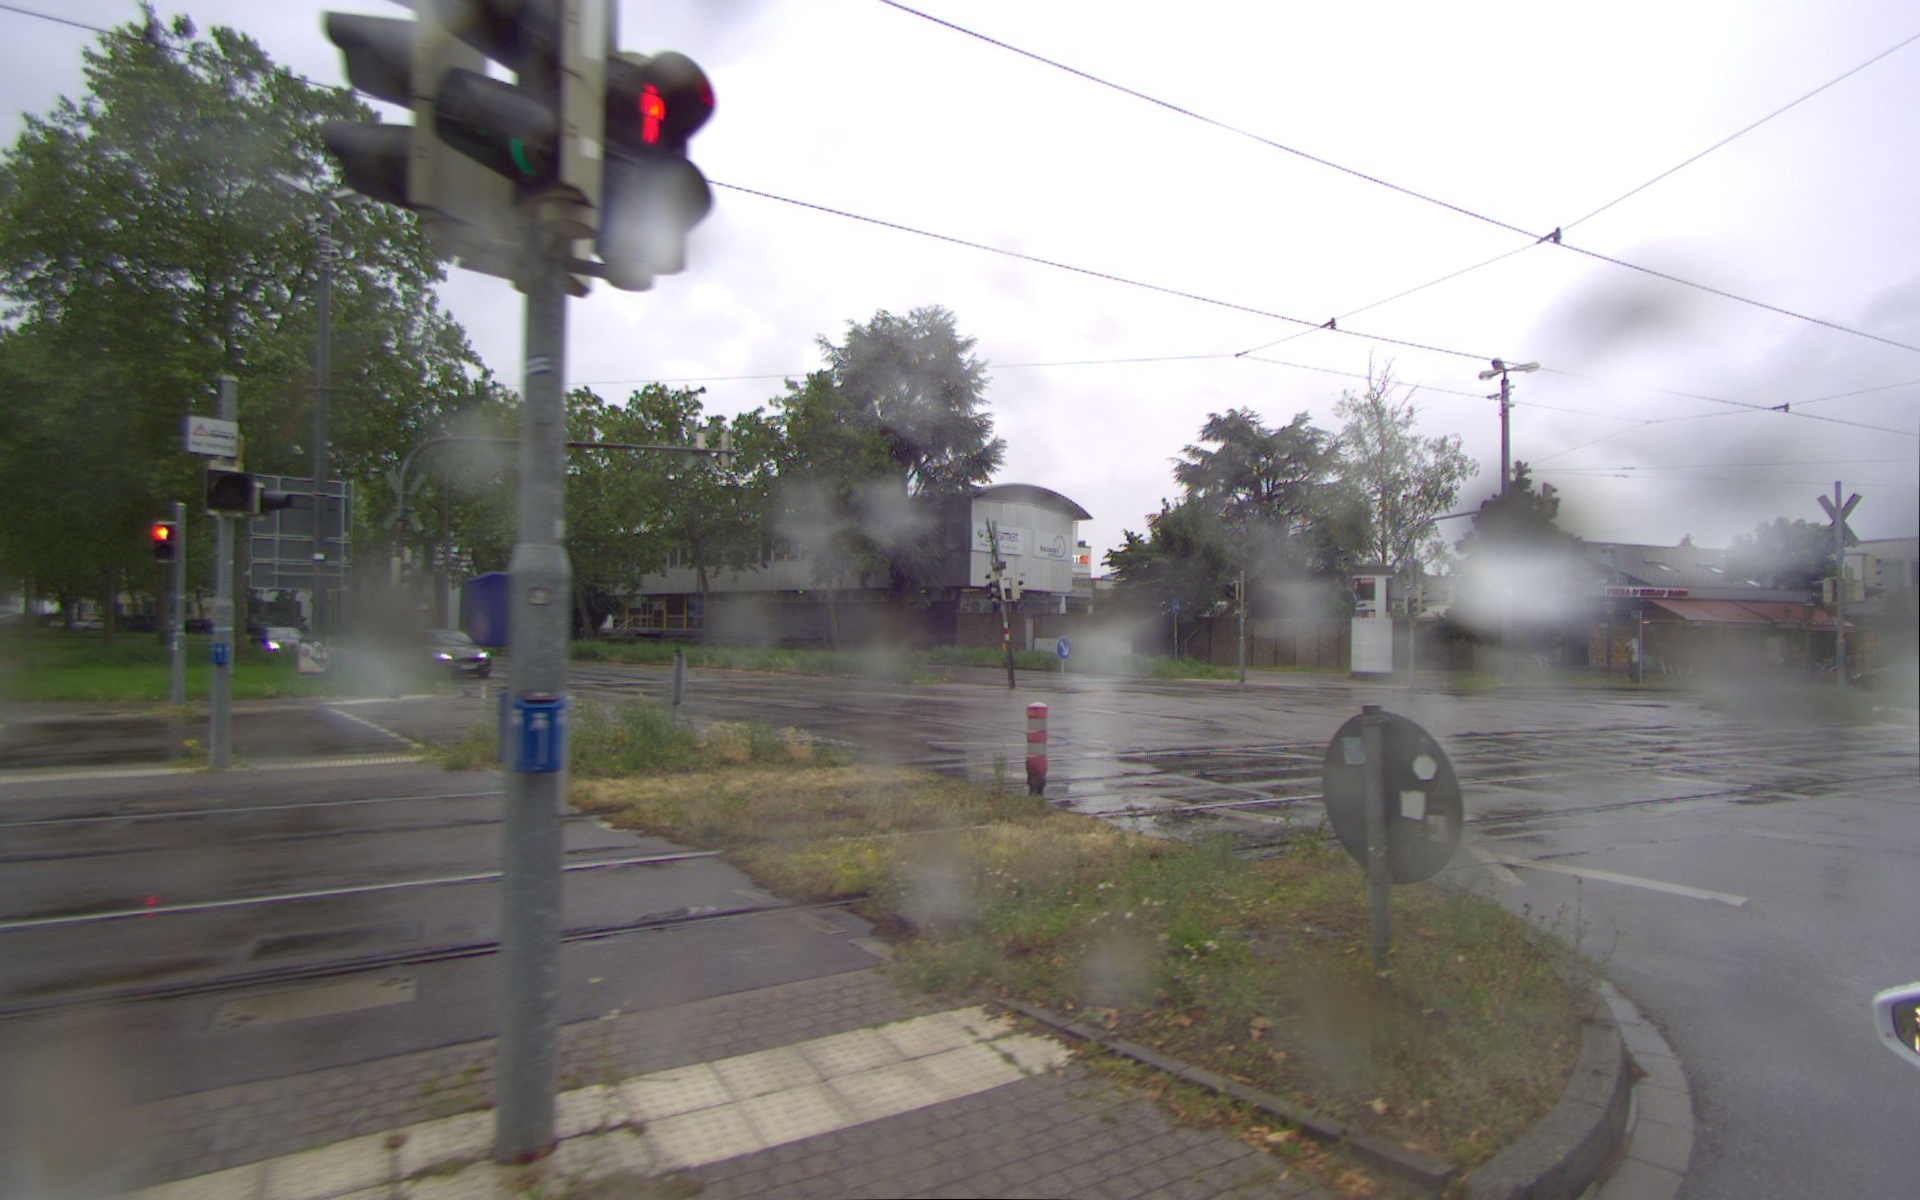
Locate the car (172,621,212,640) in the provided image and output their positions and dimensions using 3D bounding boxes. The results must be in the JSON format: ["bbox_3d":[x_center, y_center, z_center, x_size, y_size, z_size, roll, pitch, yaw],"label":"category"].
[{"bbox_3d":[-80.259,3.181,104.970,3.931,1.806,1.995,1,-1,32],"label":"car"}]

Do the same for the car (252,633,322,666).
[{"bbox_3d":[-30.745,2.247,45.854,4.400,1.425,1.794,-3,-4,45],"label":"car"}]

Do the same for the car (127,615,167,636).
[{"bbox_3d":[-90.023,2.798,111.212,3.929,2.116,2.125,1,-1,30],"label":"car"}]

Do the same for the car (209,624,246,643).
[{"bbox_3d":[-74.047,3.401,101.544,3.936,1.806,1.992,1,-1,37],"label":"car"}]

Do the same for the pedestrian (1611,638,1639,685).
[{"bbox_3d":[26.948,2.468,40.715,0.712,1.821,0.886,2,0,20],"label":"pedestrian"}]

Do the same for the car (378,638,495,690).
[{"bbox_3d":[-16.061,1.894,30.728,4.251,1.420,1.796,-2,-1,41],"label":"car"}]

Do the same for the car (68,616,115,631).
[{"bbox_3d":[-104.912,2.831,121.342,1.852,1.673,3.877,2,-1,25],"label":"car"}]

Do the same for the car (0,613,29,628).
[{"bbox_3d":[-121.986,2.585,128.368,1.960,1.855,4.001,2,-1,17],"label":"car"}]

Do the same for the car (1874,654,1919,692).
[{"bbox_3d":[37.898,2.795,38.085,1.838,1.436,4.475,2,-3,-31],"label":"car"}]

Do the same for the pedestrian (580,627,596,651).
[{"bbox_3d":[-26.551,2.768,71.633,0.812,1.690,0.670,1,-1,37],"label":"pedestrian"}]

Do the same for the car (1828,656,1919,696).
[{"bbox_3d":[35.512,2.812,37.410,1.838,1.436,4.455,2,-4,-31],"label":"car"}]

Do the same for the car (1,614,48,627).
[{"bbox_3d":[-117.466,2.551,126.151,1.851,1.524,3.880,2,-1,20],"label":"car"}]

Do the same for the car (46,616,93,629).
[{"bbox_3d":[-108.746,2.800,122.671,1.851,1.513,3.880,2,-1,20],"label":"car"}]
